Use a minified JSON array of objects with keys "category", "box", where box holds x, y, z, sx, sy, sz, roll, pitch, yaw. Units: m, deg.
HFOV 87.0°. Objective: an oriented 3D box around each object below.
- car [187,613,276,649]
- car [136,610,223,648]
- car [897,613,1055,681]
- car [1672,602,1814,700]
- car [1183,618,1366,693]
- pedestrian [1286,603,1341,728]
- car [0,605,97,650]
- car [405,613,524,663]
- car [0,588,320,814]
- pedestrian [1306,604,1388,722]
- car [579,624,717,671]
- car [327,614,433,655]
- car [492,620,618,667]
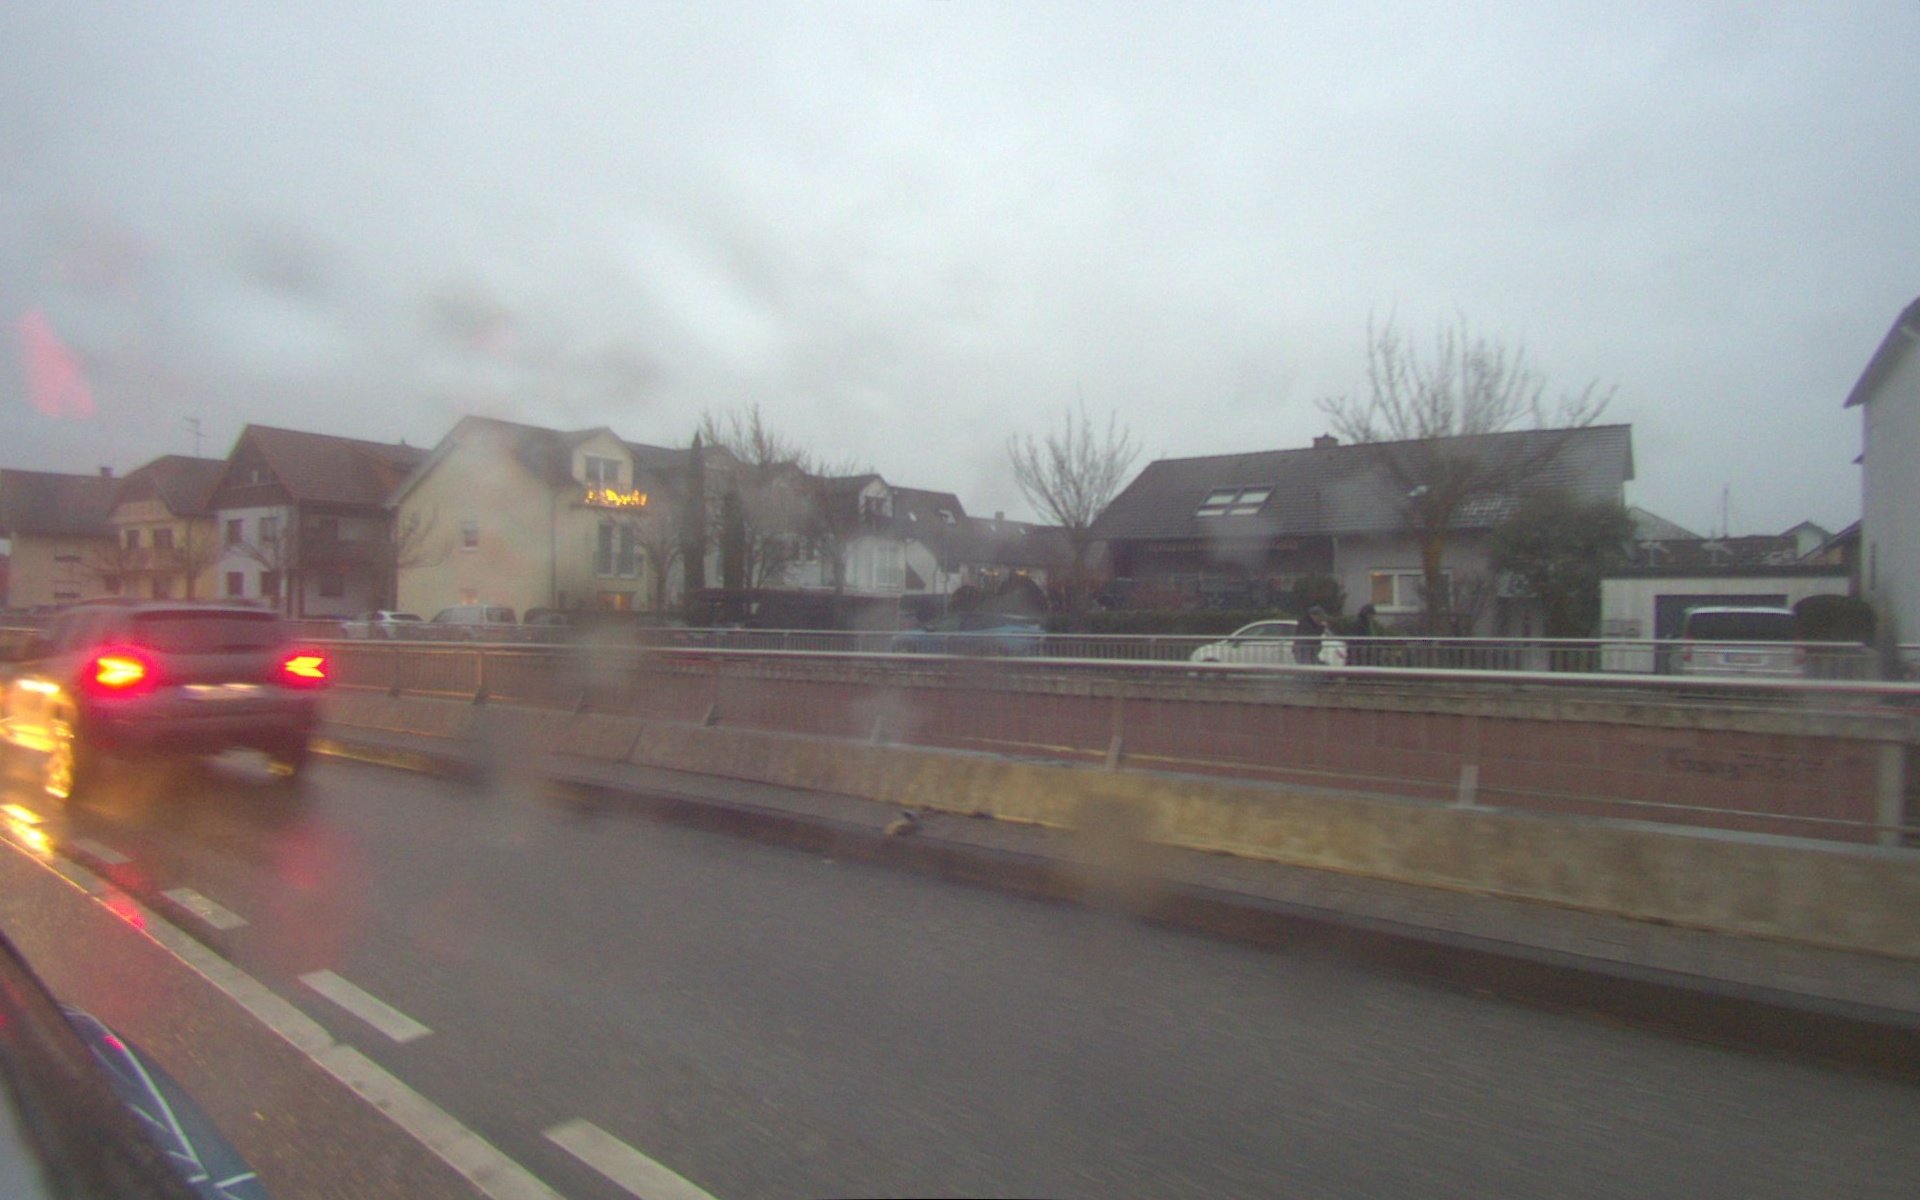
[{"category":"car","box":[-33.954,1.421,47.171,4.013,1.535,1.758,0,-1,28]},{"category":"car","box":[-37.707,1.376,48.880,3.981,1.694,1.847,0,2,28]},{"category":"car","box":[0.385,1.180,26.151,3.808,1.592,1.553,0,-2,32]},{"category":"car","box":[15.230,0.977,19.889,1.859,1.707,3.954,-1,-3,33]},{"category":"car","box":[6.675,1.132,21.602,3.452,1.438,1.469,0,-1,36]},{"category":"pedestrian","box":[5.011,0.901,14.346,0.540,1.710,0.657,-1,0,38]},{"category":"car","box":[-39.501,1.165,43.812,3.838,1.817,1.790,0,-1,25]},{"category":"car","box":[-18.930,1.445,38.625,4.482,1.792,1.861,-1,-3,30]},{"category":"car","box":[-7.711,0.799,9.411,3.994,1.666,1.720,-1,-2,38]},{"category":"pedestrian","box":[6.154,0.965,16.084,0.972,1.798,0.919,-1,0,38]},{"category":"car","box":[-10.291,1.550,33.321,4.485,1.444,1.860,-1,-3,31]},{"category":"car","box":[-23.844,1.424,41.574,4.207,1.611,1.861,-1,-3,29]},{"category":"car","box":[-14.455,1.540,36.043,4.485,1.584,1.860,-1,-3,31]}]
